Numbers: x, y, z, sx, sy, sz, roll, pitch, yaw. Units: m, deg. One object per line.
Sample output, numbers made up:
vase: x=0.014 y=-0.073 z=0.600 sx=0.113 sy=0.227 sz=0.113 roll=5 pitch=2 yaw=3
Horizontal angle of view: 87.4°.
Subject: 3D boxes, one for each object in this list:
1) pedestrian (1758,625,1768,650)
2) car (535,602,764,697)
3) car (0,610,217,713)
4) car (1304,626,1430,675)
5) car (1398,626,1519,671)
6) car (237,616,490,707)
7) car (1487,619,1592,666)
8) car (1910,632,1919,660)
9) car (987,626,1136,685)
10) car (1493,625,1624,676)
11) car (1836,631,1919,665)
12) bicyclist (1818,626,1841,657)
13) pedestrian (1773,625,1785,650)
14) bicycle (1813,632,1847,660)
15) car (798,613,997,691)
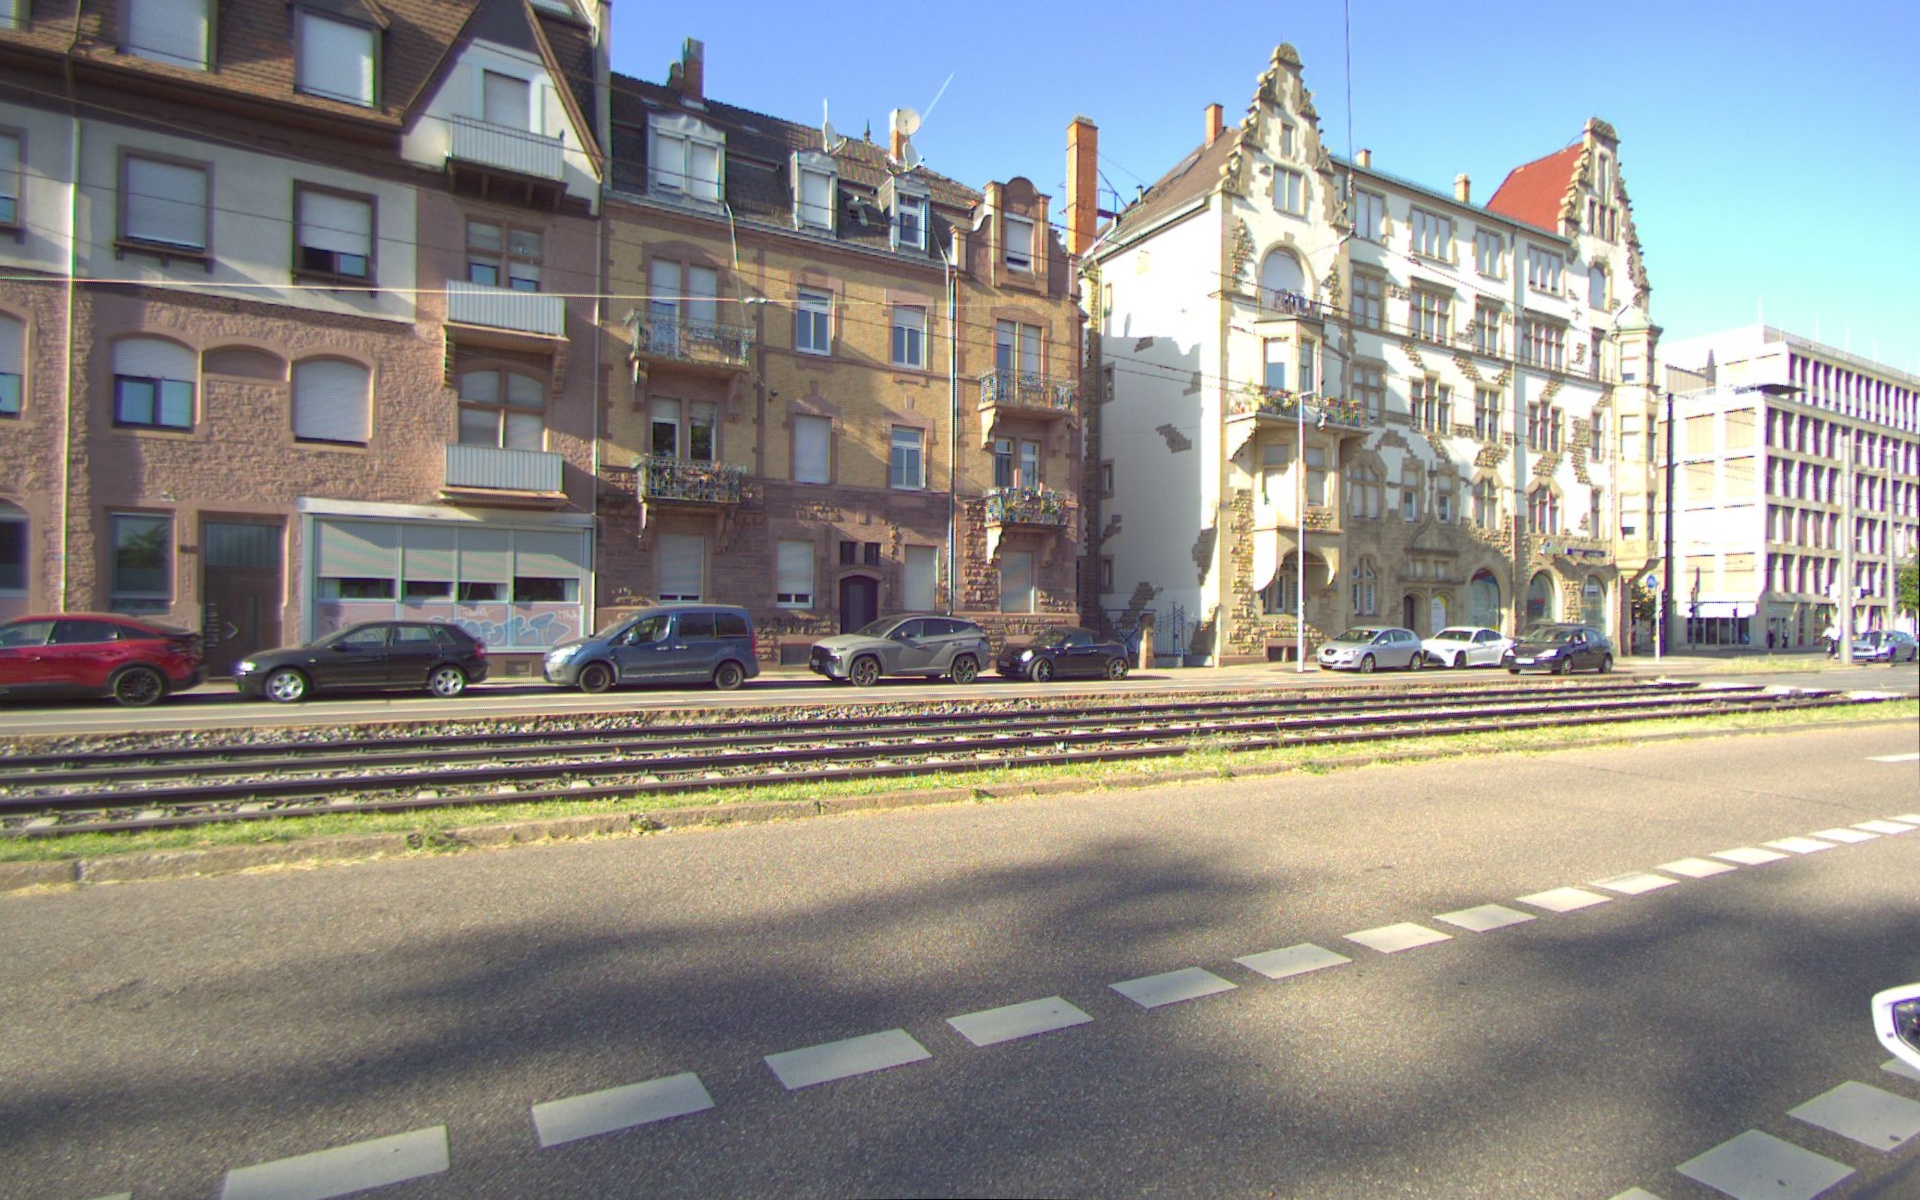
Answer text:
pedestrian: x=60.022 y=2.780 z=75.065 sx=0.464 sy=1.868 sz=0.443 roll=0 pitch=-1 yaw=23
car: x=-6.564 y=1.002 z=21.303 sx=4.361 sy=1.782 sz=1.878 roll=1 pitch=2 yaw=-28
car: x=-15.056 y=0.972 z=16.669 sx=4.162 sy=1.519 sz=1.846 roll=1 pitch=2 yaw=-31
car: x=13.392 y=1.612 z=33.006 sx=4.177 sy=1.450 sz=1.700 roll=1 pitch=1 yaw=-32
car: x=17.893 y=1.704 z=35.990 sx=4.603 sy=1.442 sz=1.708 roll=1 pitch=1 yaw=-32
car: x=-10.967 y=1.085 z=18.705 sx=3.882 sy=1.457 sz=1.686 roll=1 pitch=2 yaw=-31
car: x=22.474 y=1.617 z=38.935 sx=4.169 sy=1.698 sz=1.708 roll=1 pitch=1 yaw=-32
car: x=52.500 y=2.435 z=53.491 sx=4.111 sy=1.476 sz=1.810 roll=1 pitch=-2 yaw=-32
car: x=2.721 y=1.439 z=26.650 sx=3.683 sy=1.373 sz=1.614 roll=1 pitch=2 yaw=-31
car: x=18.441 y=1.531 z=30.912 sx=4.119 sy=1.476 sz=1.810 roll=1 pitch=-2 yaw=-32
car: x=42.947 y=2.224 z=46.972 sx=4.490 sy=1.476 sz=1.810 roll=1 pitch=-2 yaw=-32
bicyclist: x=44.317 y=2.124 z=51.193 sx=0.775 sy=1.583 sz=0.682 roll=1 pitch=-2 yaw=-28
pedestrian: x=60.890 y=2.777 z=74.676 sx=0.522 sy=1.868 sz=0.443 roll=0 pitch=-1 yaw=23
bicycle: x=44.335 y=2.317 z=51.193 sx=1.923 sy=1.400 sz=0.682 roll=1 pitch=-2 yaw=-29
car: x=-1.478 y=1.200 z=24.286 sx=4.451 sy=1.644 sz=1.846 roll=1 pitch=2 yaw=-31
